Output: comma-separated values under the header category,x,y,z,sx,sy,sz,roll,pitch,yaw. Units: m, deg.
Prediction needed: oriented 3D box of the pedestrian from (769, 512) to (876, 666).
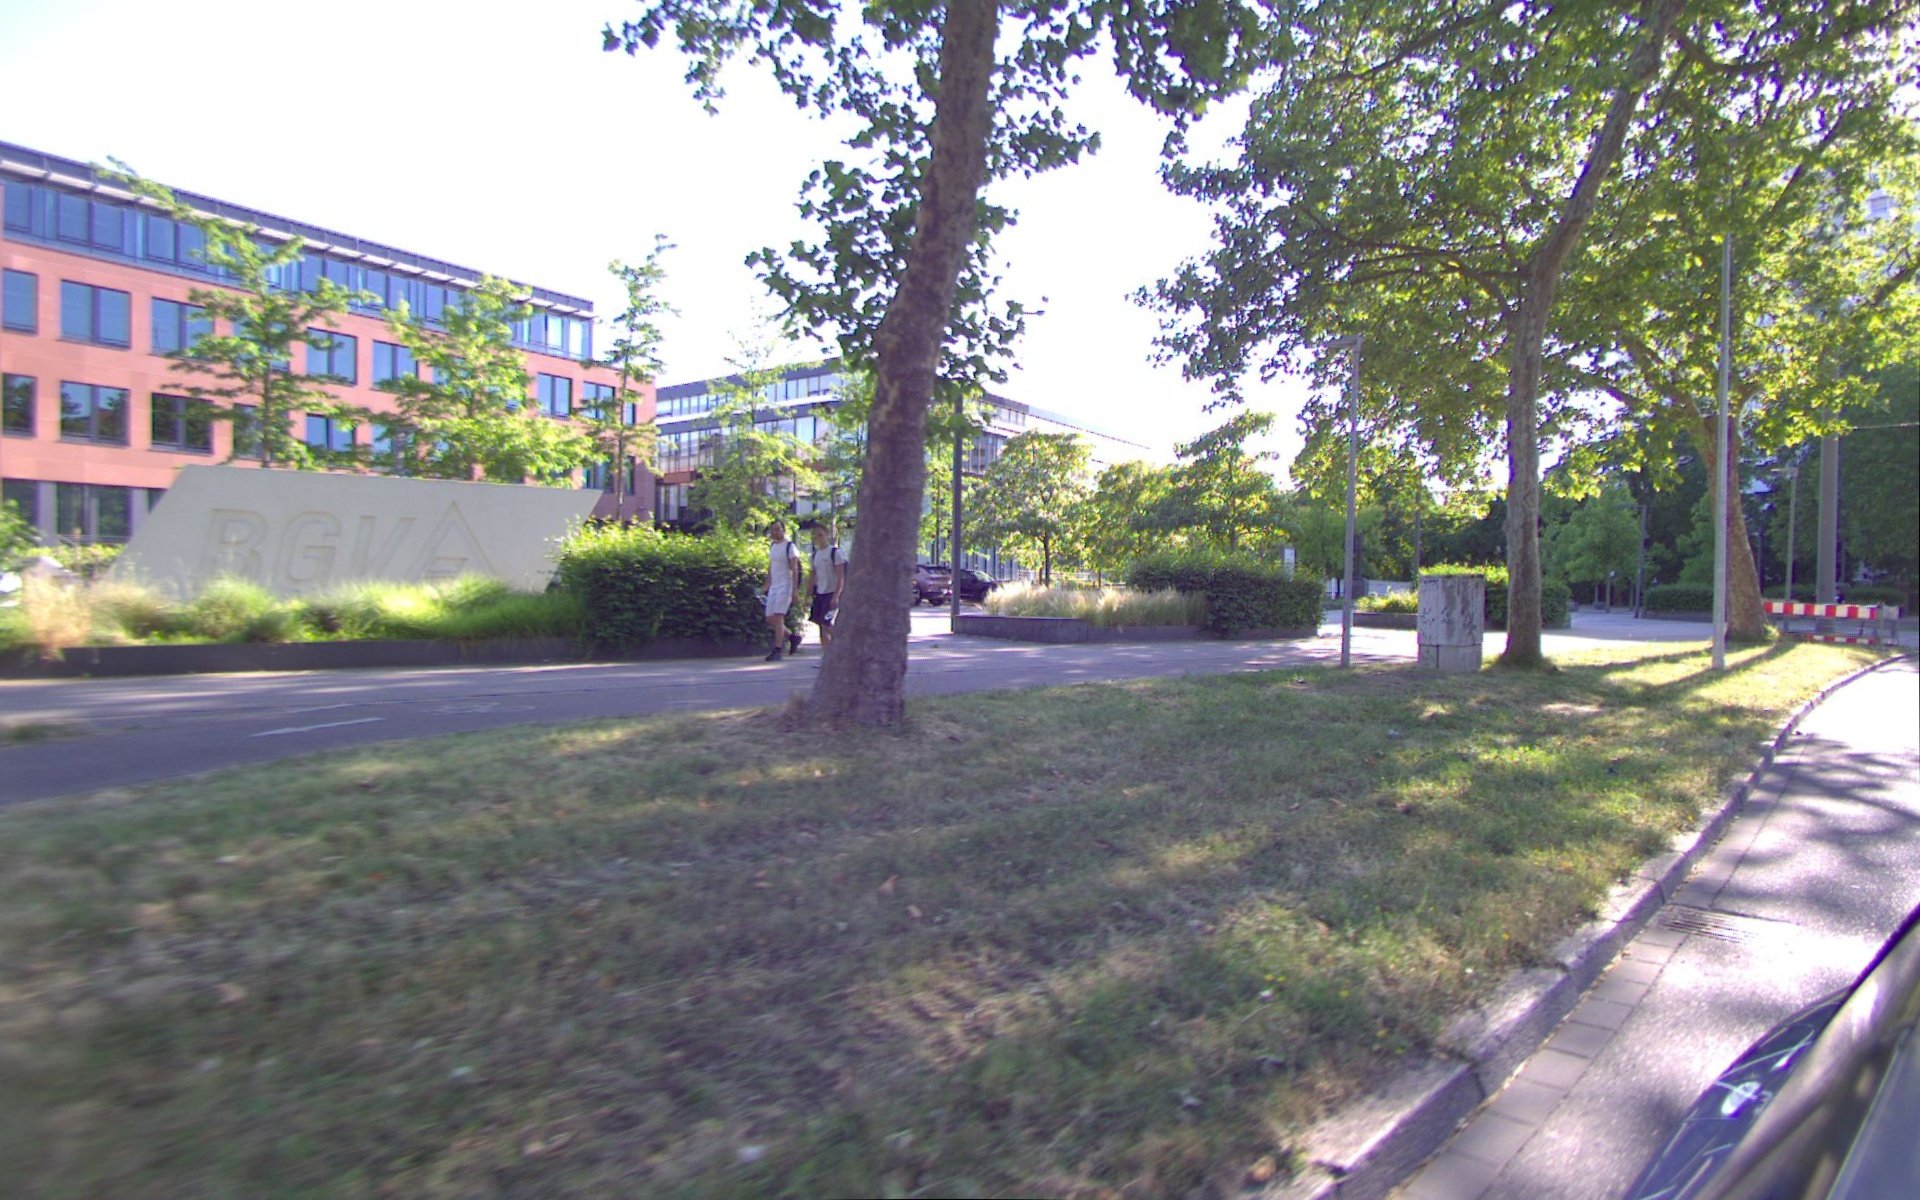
category,x,y,z,sx,sy,sz,roll,pitch,yaw
pedestrian,-1.710,-0.148,12.568,1.066,1.815,0.752,0,2,-37

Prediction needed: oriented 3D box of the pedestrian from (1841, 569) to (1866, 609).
category,x,y,z,sx,sy,sz,roll,pitch,yaw
pedestrian,38.534,-0.473,43.649,0.726,1.677,0.629,0,2,-37

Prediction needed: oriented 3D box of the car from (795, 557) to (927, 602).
category,x,y,z,sx,sy,sz,roll,pitch,yaw
car,-3.651,-0.757,36.941,4.656,1.484,1.939,3,1,35

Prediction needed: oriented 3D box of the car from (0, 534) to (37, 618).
category,x,y,z,sx,sy,sz,roll,pitch,yaw
car,-19.404,-0.516,19.085,4.144,1.525,1.977,3,1,33

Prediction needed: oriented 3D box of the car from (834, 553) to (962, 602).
category,x,y,z,sx,sy,sz,roll,pitch,yaw
car,-2.444,-0.905,39.392,4.656,1.735,2.047,3,1,35

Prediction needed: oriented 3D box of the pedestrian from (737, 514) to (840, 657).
category,x,y,z,sx,sy,sz,roll,pitch,yaw
pedestrian,-2.288,-0.209,13.494,1.089,1.815,0.808,0,2,-37

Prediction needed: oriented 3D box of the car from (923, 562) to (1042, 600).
category,x,y,z,sx,sy,sz,roll,pitch,yaw
car,0.921,-0.815,42.611,4.655,1.503,2.047,1,1,35

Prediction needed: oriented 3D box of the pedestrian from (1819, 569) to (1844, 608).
category,x,y,z,sx,sy,sz,roll,pitch,yaw
pedestrian,38.077,-0.516,44.207,0.769,1.677,0.652,0,2,-37

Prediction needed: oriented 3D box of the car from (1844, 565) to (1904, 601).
category,x,y,z,sx,sy,sz,roll,pitch,yaw
car,68.747,-1.268,76.064,6.226,2.531,1.999,-1,-1,-35

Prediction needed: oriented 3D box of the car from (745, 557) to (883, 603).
category,x,y,z,sx,sy,sz,roll,pitch,yaw
car,-5.123,-0.703,35.182,4.656,1.400,1.950,3,1,35
